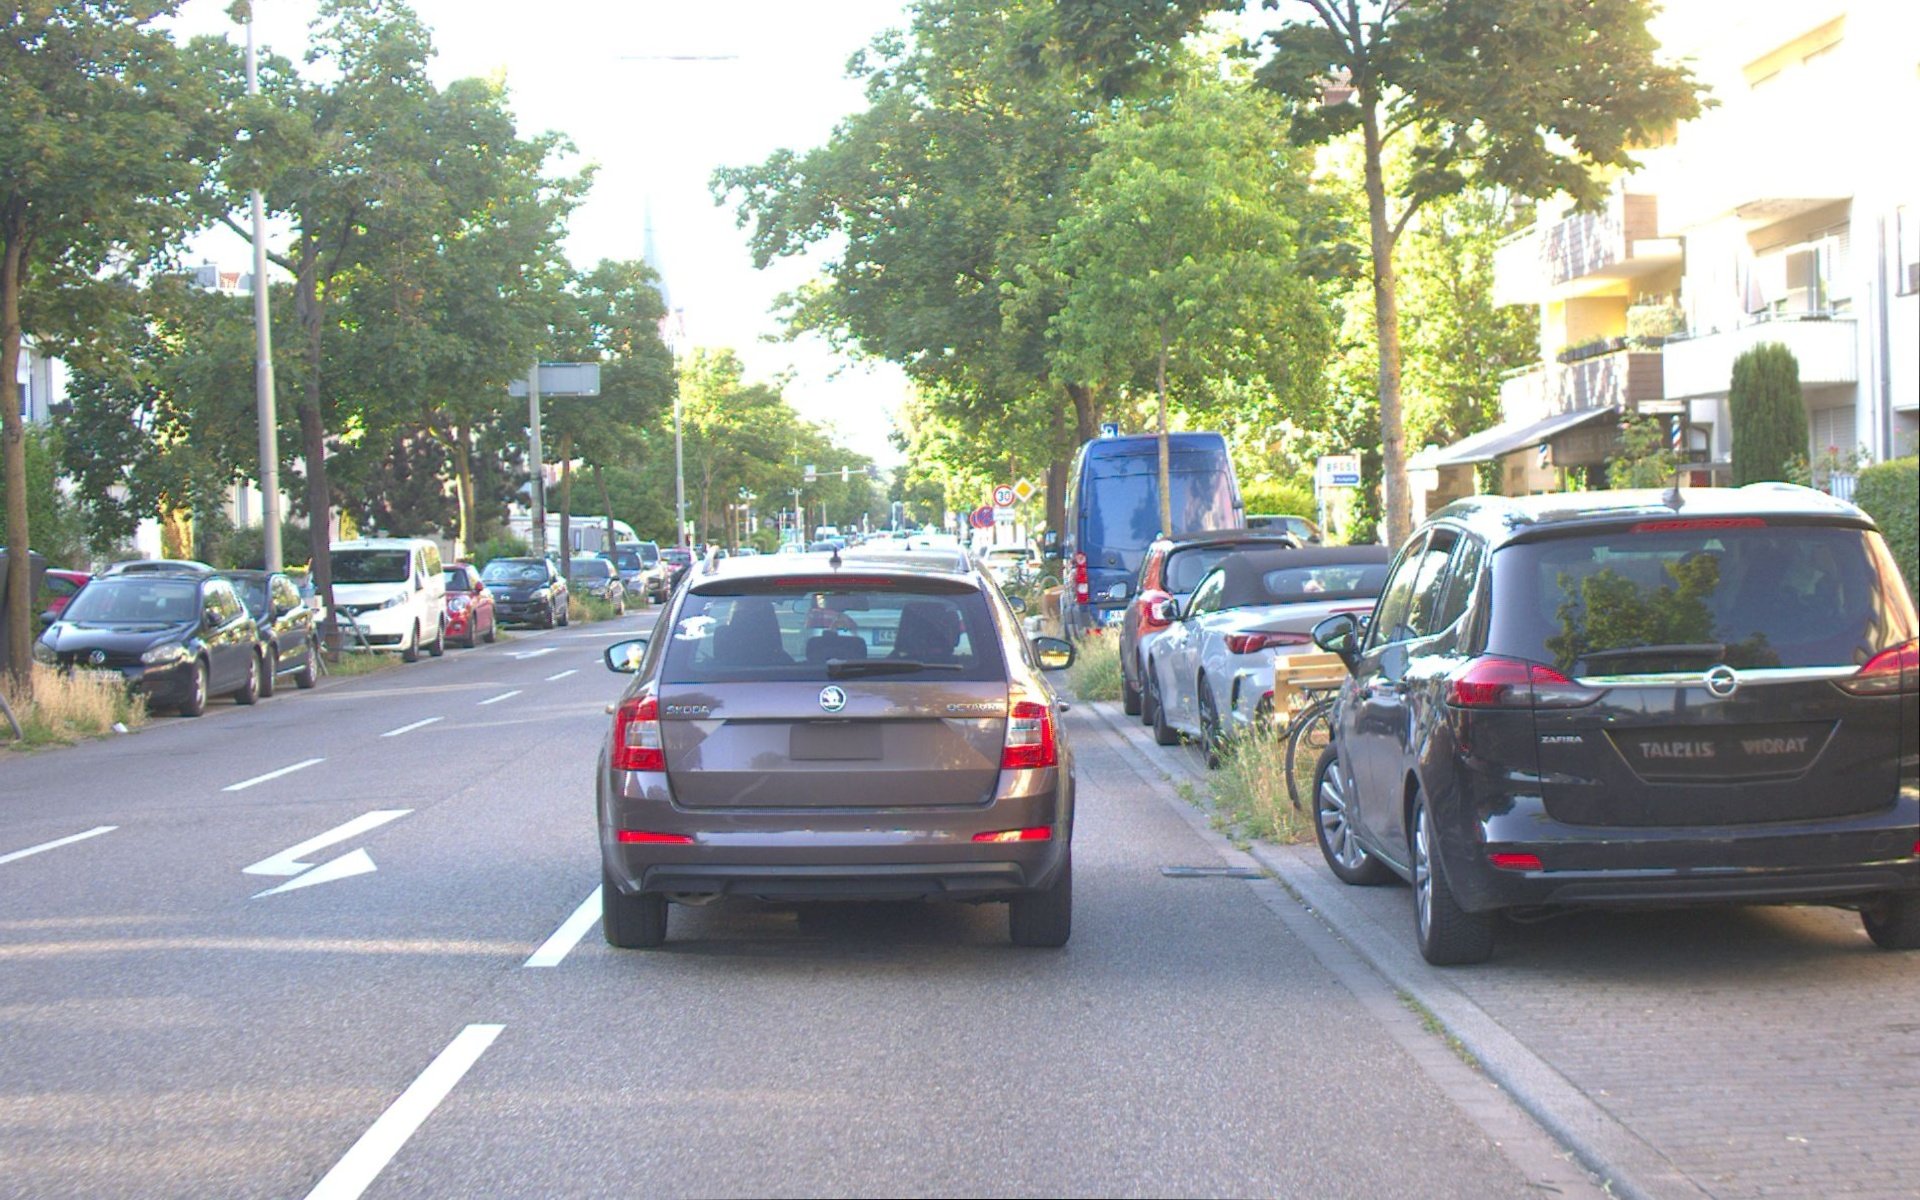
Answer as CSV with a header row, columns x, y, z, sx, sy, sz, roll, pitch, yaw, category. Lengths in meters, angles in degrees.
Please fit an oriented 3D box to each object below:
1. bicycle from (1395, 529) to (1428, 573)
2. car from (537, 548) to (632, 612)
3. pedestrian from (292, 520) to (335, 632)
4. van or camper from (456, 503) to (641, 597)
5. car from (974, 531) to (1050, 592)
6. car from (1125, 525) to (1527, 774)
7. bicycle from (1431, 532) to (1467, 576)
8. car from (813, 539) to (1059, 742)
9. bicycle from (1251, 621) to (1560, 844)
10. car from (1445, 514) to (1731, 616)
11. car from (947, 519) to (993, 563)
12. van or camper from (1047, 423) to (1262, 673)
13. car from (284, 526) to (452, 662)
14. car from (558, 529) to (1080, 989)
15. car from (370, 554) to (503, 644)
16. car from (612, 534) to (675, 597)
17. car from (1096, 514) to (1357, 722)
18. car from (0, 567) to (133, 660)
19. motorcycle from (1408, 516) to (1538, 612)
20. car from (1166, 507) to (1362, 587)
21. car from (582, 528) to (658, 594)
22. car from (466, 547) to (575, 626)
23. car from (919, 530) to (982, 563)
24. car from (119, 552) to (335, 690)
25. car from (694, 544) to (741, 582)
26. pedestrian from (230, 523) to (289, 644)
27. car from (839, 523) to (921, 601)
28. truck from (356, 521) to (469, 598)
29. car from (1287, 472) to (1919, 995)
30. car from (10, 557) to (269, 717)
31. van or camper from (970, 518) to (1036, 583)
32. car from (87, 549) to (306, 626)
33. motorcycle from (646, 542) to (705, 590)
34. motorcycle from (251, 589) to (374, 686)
x,y,z,sx,sy,sz,roll,pitch,yaw,category
9.908,-1.068,75.491,0.342,0.947,1.582,1,1,-6,bicycle
-8.977,-0.503,82.510,1.754,1.415,4.426,-1,2,0,car
-11.762,-0.444,62.548,0.626,2.007,0.616,-1,1,-1,pedestrian
-17.551,-2.153,146.837,7.639,3.861,2.000,-1,1,-2,van or camper
1.301,-0.978,85.637,1.821,1.408,4.111,-1,2,1,car
2.393,0.253,23.703,1.920,1.481,4.747,-1,2,-4,car
10.655,-1.003,74.904,0.342,0.947,1.582,-3,1,-6,bicycle
-0.269,0.274,28.347,1.729,1.488,3.951,-1,2,-4,car
2.249,0.657,17.355,1.476,1.055,0.412,-2,1,-13,bicycle
9.660,-0.555,53.057,3.986,1.457,1.825,-1,1,-4,car
0.407,-2.502,145.483,1.729,1.809,3.951,-1,2,-2,car
2.179,-0.592,40.155,2.068,2.666,5.990,-1,1,-1,van or camper
-8.892,-0.137,51.921,1.770,1.912,4.460,-1,2,-1,car
-0.449,0.497,13.558,1.729,1.488,3.951,-1,2,1,car
-8.972,-0.049,59.178,1.717,1.416,3.787,-1,2,-1,car
-9.228,-1.030,100.355,1.507,1.751,3.694,-1,2,-1,car
2.219,0.127,29.557,1.772,1.636,3.758,-1,1,-2,car
-15.387,0.227,53.819,4.709,1.358,2.001,-2,2,-13,car
8.929,-0.632,59.896,2.195,1.615,0.731,-1,1,6,motorcycle
7.596,-1.329,85.780,4.532,1.886,1.915,-2,1,-28,car
-9.447,-1.094,95.684,1.750,1.734,3.591,-1,2,-1,car
-9.065,-0.299,71.192,1.717,1.492,4.248,-1,2,-1,car
-0.506,-2.958,189.372,1.879,1.751,4.173,0,2,25,car
-8.746,0.210,41.328,1.750,1.497,3.979,-1,2,-1,car
-9.673,-1.504,137.435,1.664,1.427,3.275,-1,2,-1,car
-11.827,-0.287,58.101,0.767,2.007,0.976,-1,1,-1,pedestrian
-1.754,-0.864,76.215,1.732,1.645,3.542,-1,2,-1,car
-15.443,-1.150,97.104,2.913,2.086,1.546,-1,1,-1,truck
2.361,0.368,13.146,1.732,1.645,4.292,-1,2,-1,car
-8.604,0.342,36.384,1.750,1.497,4.197,-1,2,-1,car
1.350,-1.599,109.704,1.993,2.006,4.000,-1,2,-1,van or camper
-15.122,-0.258,68.244,3.986,1.474,2.000,0,1,-4,car
-9.162,-1.092,110.717,0.764,1.506,2.029,-2,2,-43,motorcycle
-8.442,0.479,44.884,0.441,1.188,1.703,0,2,37,motorcycle
